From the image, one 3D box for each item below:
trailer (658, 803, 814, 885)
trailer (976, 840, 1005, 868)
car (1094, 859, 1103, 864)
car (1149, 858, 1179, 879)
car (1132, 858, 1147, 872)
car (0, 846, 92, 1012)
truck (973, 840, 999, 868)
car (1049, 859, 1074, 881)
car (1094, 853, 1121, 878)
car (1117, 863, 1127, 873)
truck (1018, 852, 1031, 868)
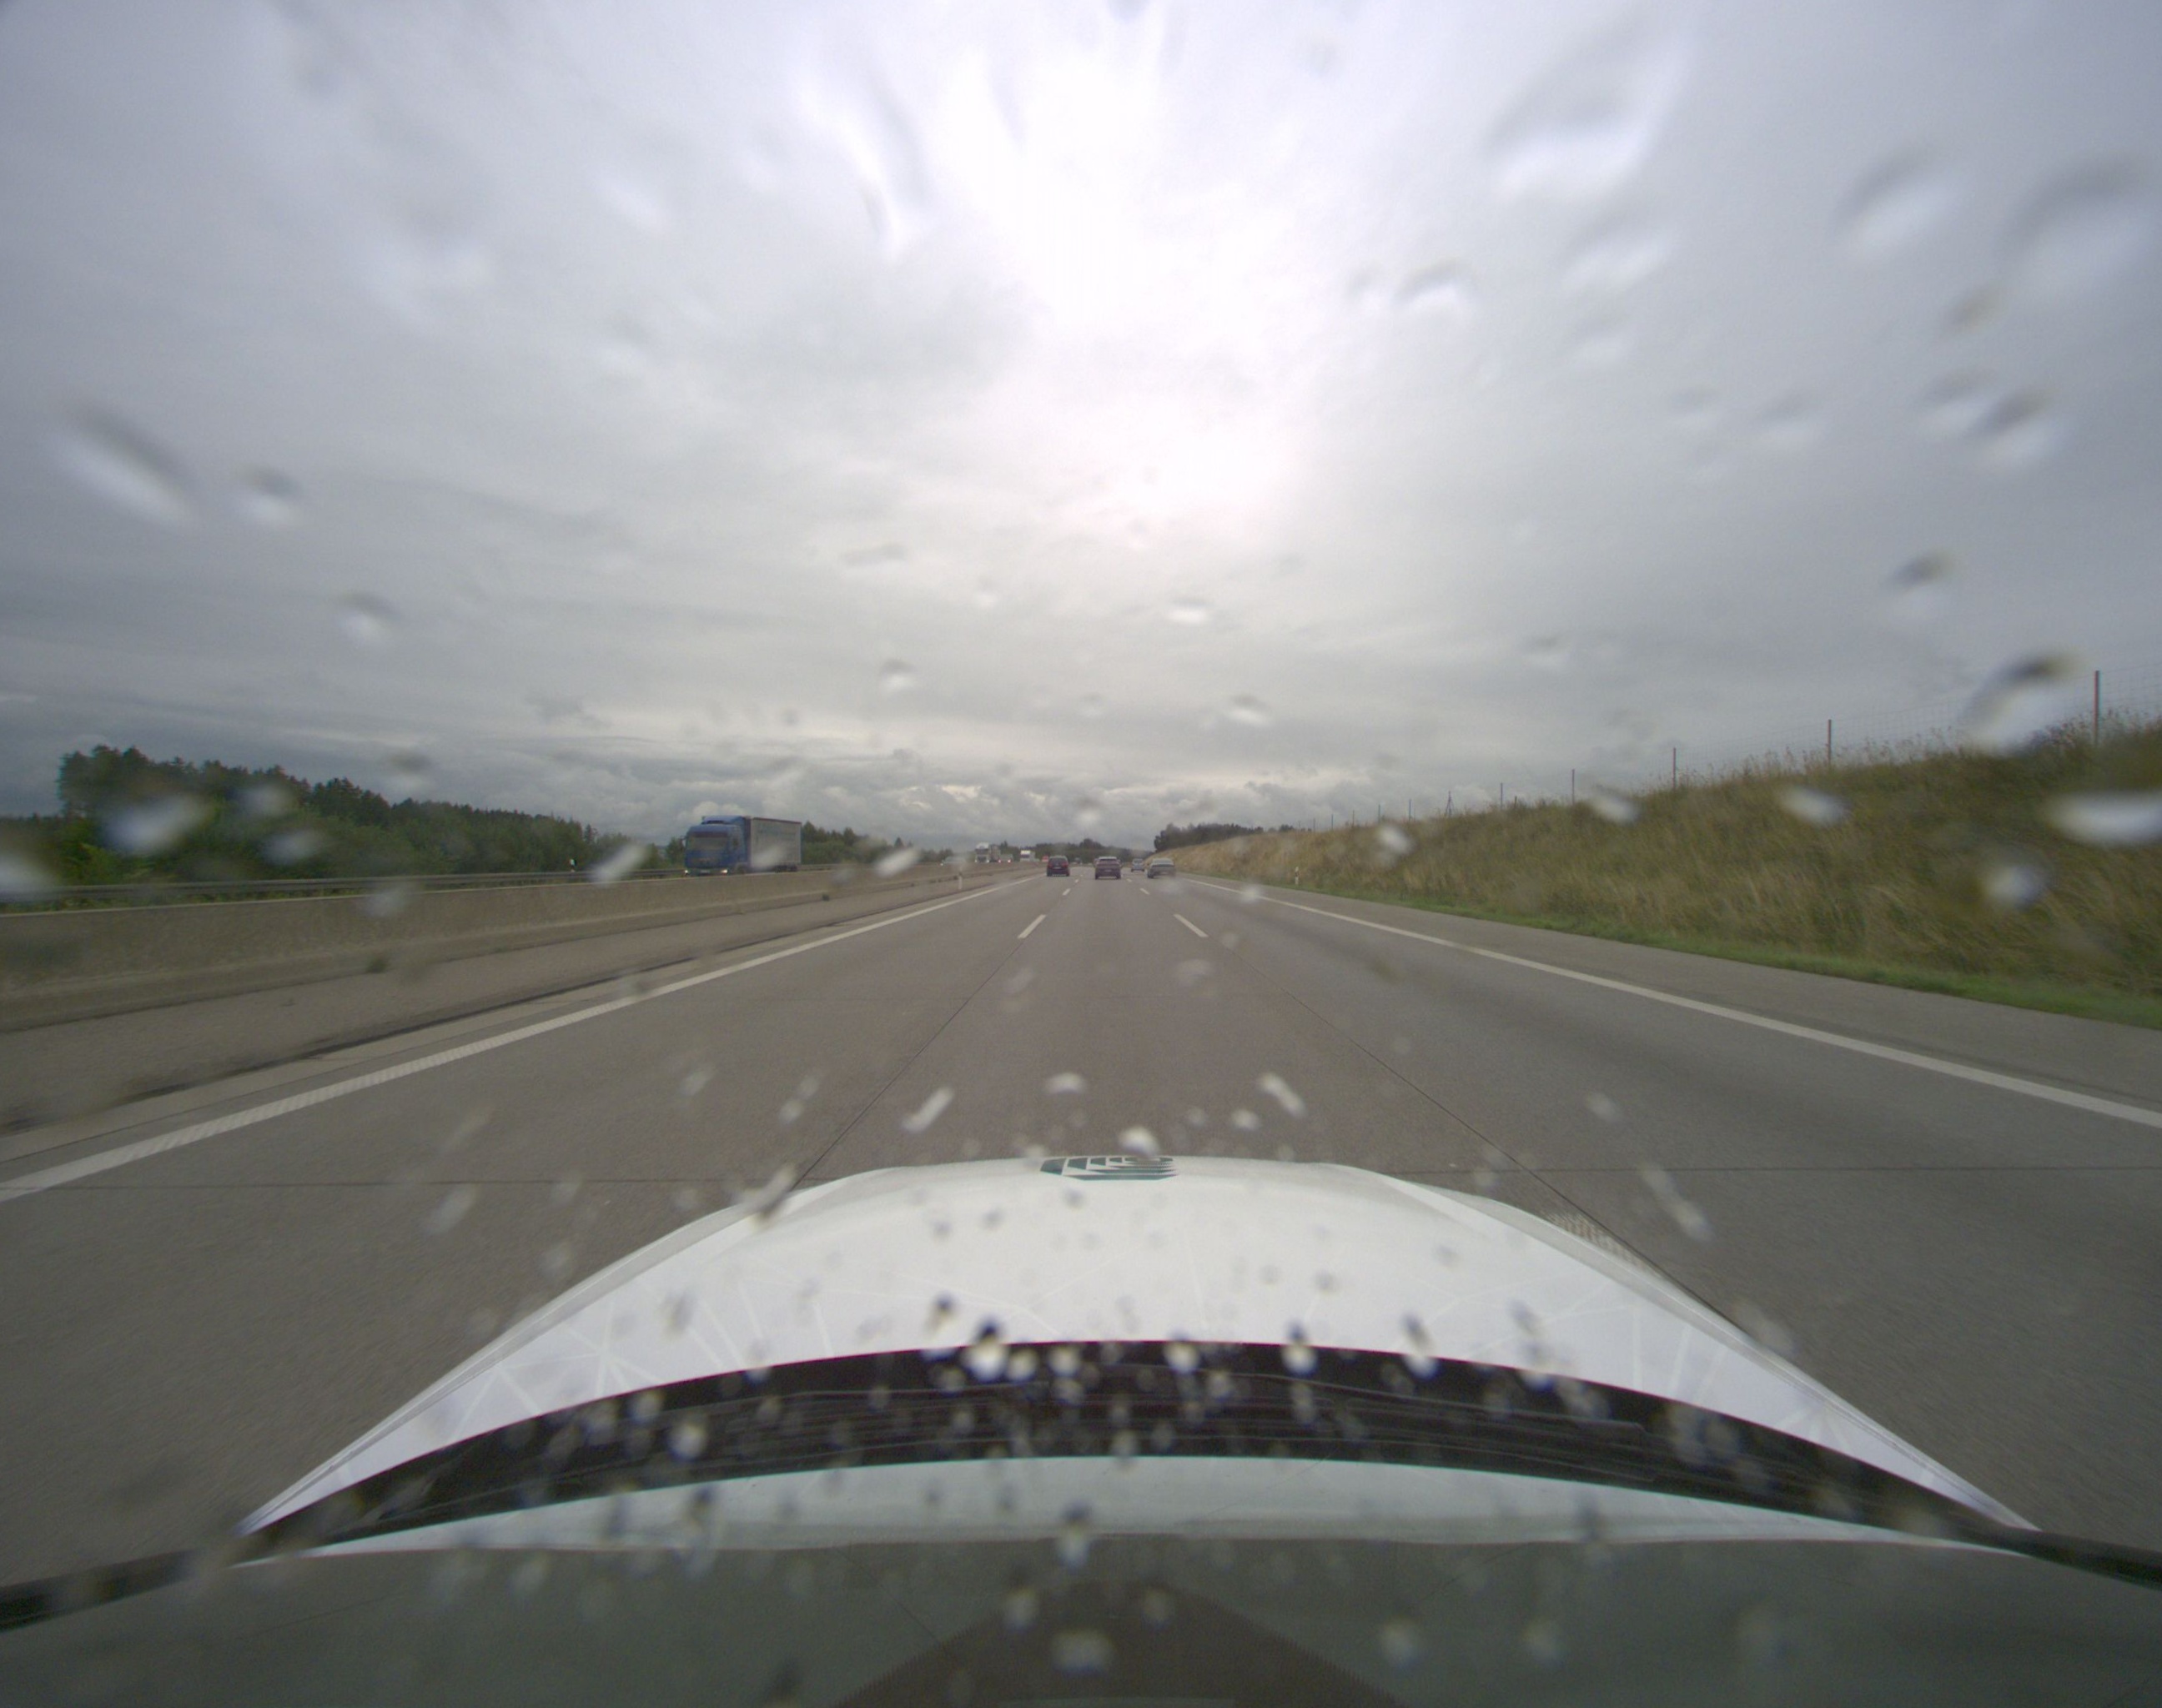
[{"bbox_3d":[-18.162,-0.485,44.315,2.839,3.837,12.404,0,0,2],"label":"trailer"},{"bbox_3d":[-16.333,-0.063,147.473,3.586,4.799,12.909,0,0,1],"label":"trailer"},{"bbox_3d":[3.847,1.683,181.419,1.789,1.221,4.006,0,0,5],"label":"car"},{"bbox_3d":[6.035,1.009,59.825,2.006,1.446,4.749,0,0,3],"label":"car"},{"bbox_3d":[6.578,1.208,92.383,1.480,1.470,3.505,2,0,1],"label":"car"},{"bbox_3d":[-11.888,0.773,6.949,1.707,1.679,4.183,0,0,2],"label":"car"},{"bbox_3d":[-16.454,-0.056,141.383,3.575,4.819,5.869,0,0,0],"label":"truck"},{"bbox_3d":[-1.633,1.312,69.315,1.777,1.747,3.918,0,0,3],"label":"car"},{"bbox_3d":[1.992,0.795,59.362,1.890,1.690,5.270,0,0,3],"label":"car"},{"bbox_3d":[6.608,2.213,130.400,1.480,1.470,3.505,2,0,1],"label":"car"},{"bbox_3d":[-15.186,1.617,220.268,2.874,4.291,7.136,0,0,0],"label":"truck"}]
